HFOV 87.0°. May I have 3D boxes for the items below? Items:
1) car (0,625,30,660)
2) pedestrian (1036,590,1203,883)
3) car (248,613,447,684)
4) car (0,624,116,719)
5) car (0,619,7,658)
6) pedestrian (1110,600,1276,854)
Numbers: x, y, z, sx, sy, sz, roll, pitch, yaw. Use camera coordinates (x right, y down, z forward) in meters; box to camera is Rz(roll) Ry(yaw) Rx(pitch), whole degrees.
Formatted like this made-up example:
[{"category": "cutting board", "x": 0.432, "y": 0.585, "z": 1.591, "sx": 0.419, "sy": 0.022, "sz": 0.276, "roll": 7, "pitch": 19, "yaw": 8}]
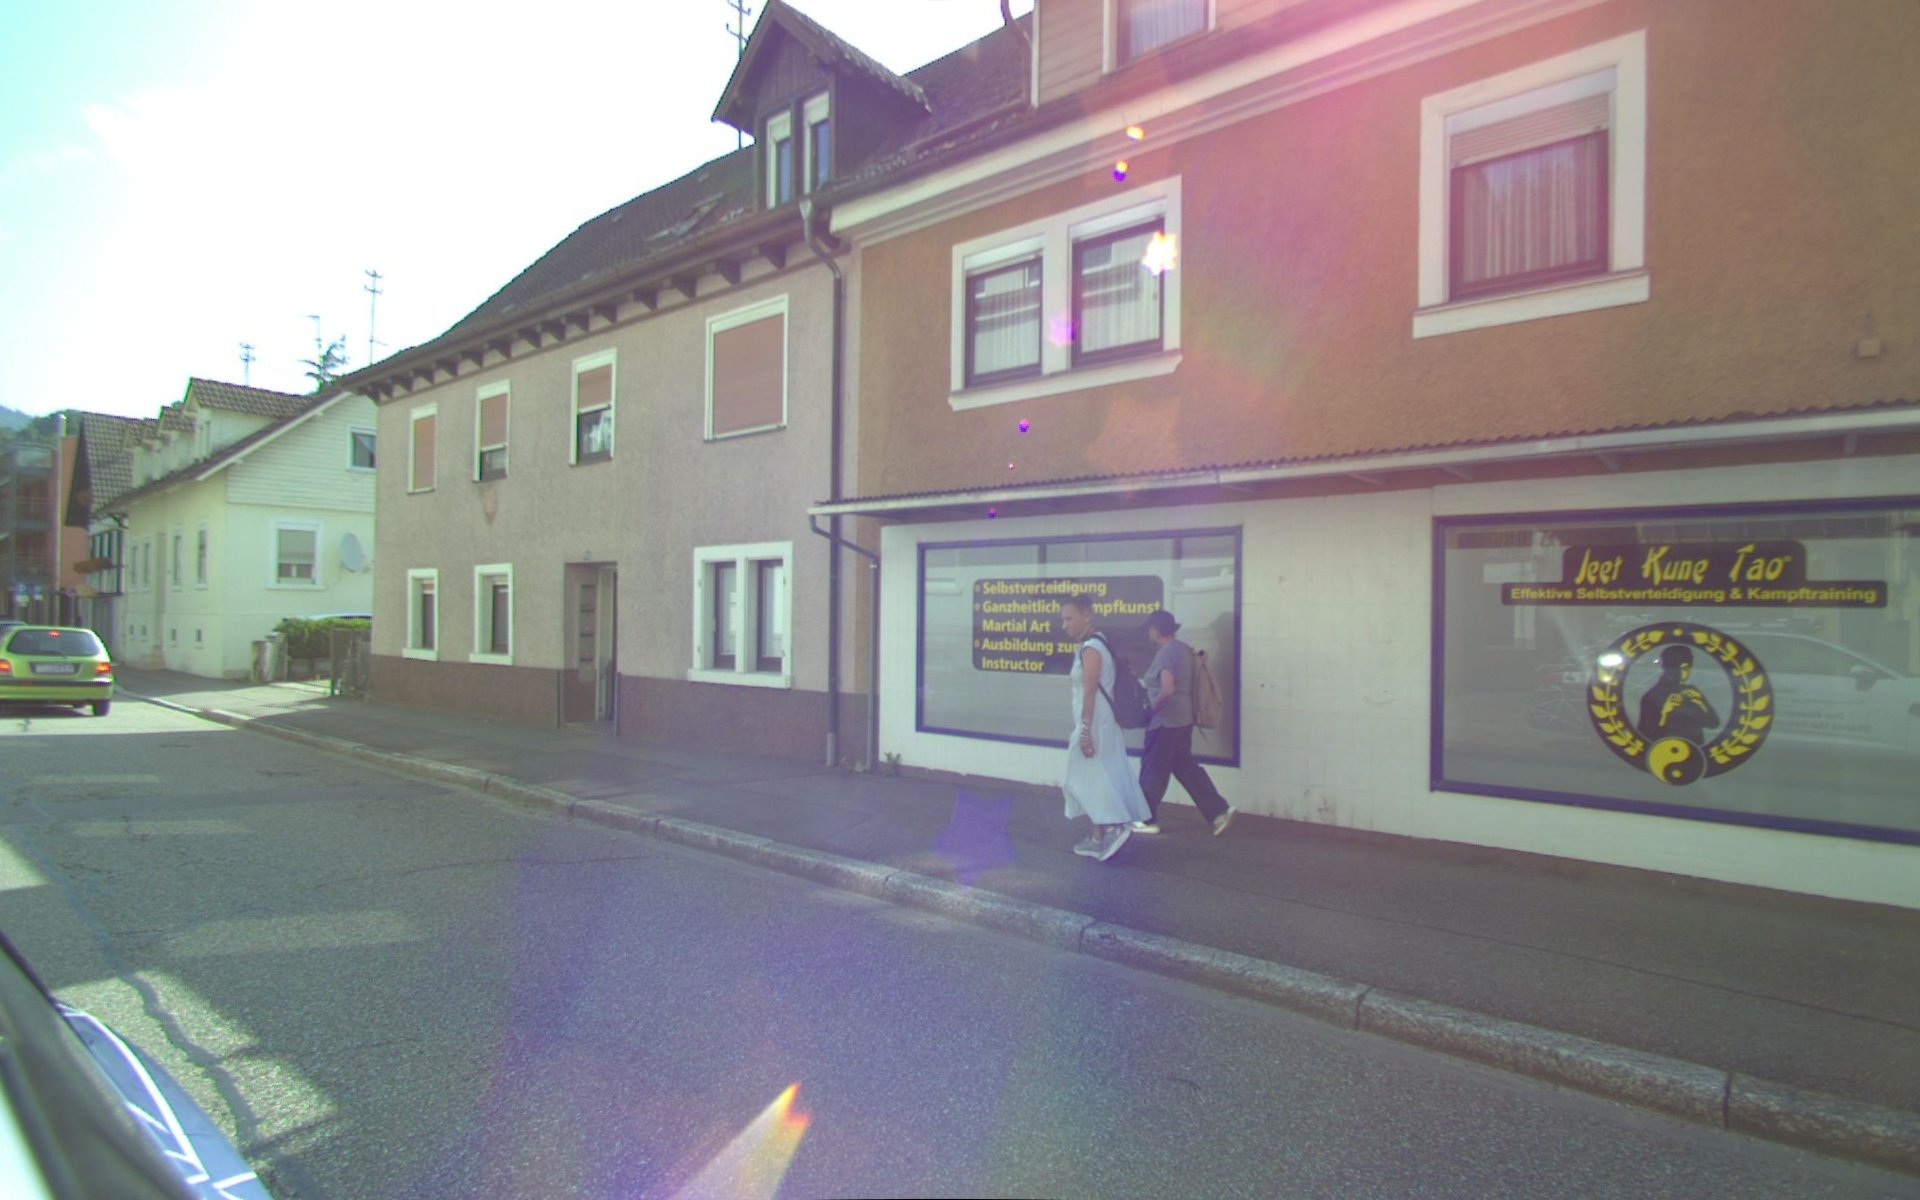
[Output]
[{"category": "car", "x": -41.837, "y": 1.848, "z": 44.061, "sx": 3.567, "sy": 1.443, "sz": 1.649, "roll": -2, "pitch": -1, "yaw": 42}, {"category": "pedestrian", "x": 0.967, "y": 0.772, "z": 6.167, "sx": 0.777, "sy": 1.639, "sz": 0.632, "roll": -1, "pitch": -2, "yaw": 43}, {"category": "car", "x": -15.602, "y": 1.177, "z": 25.931, "sx": 1.905, "sy": 1.606, "sz": 3.948, "roll": -1, "pitch": -1, "yaw": 38}, {"category": "car", "x": -15.970, "y": 1.195, "z": 17.433, "sx": 3.658, "sy": 1.475, "sz": 1.580, "roll": -1, "pitch": -5, "yaw": 41}, {"category": "car", "x": -46.025, "y": 1.773, "z": 47.189, "sx": 4.264, "sy": 1.810, "sz": 1.703, "roll": -1, "pitch": -2, "yaw": 39}, {"category": "pedestrian", "x": 1.580, "y": 0.798, "z": 6.869, "sx": 0.824, "sy": 1.576, "sz": 0.727, "roll": -1, "pitch": 0, "yaw": 42}]
